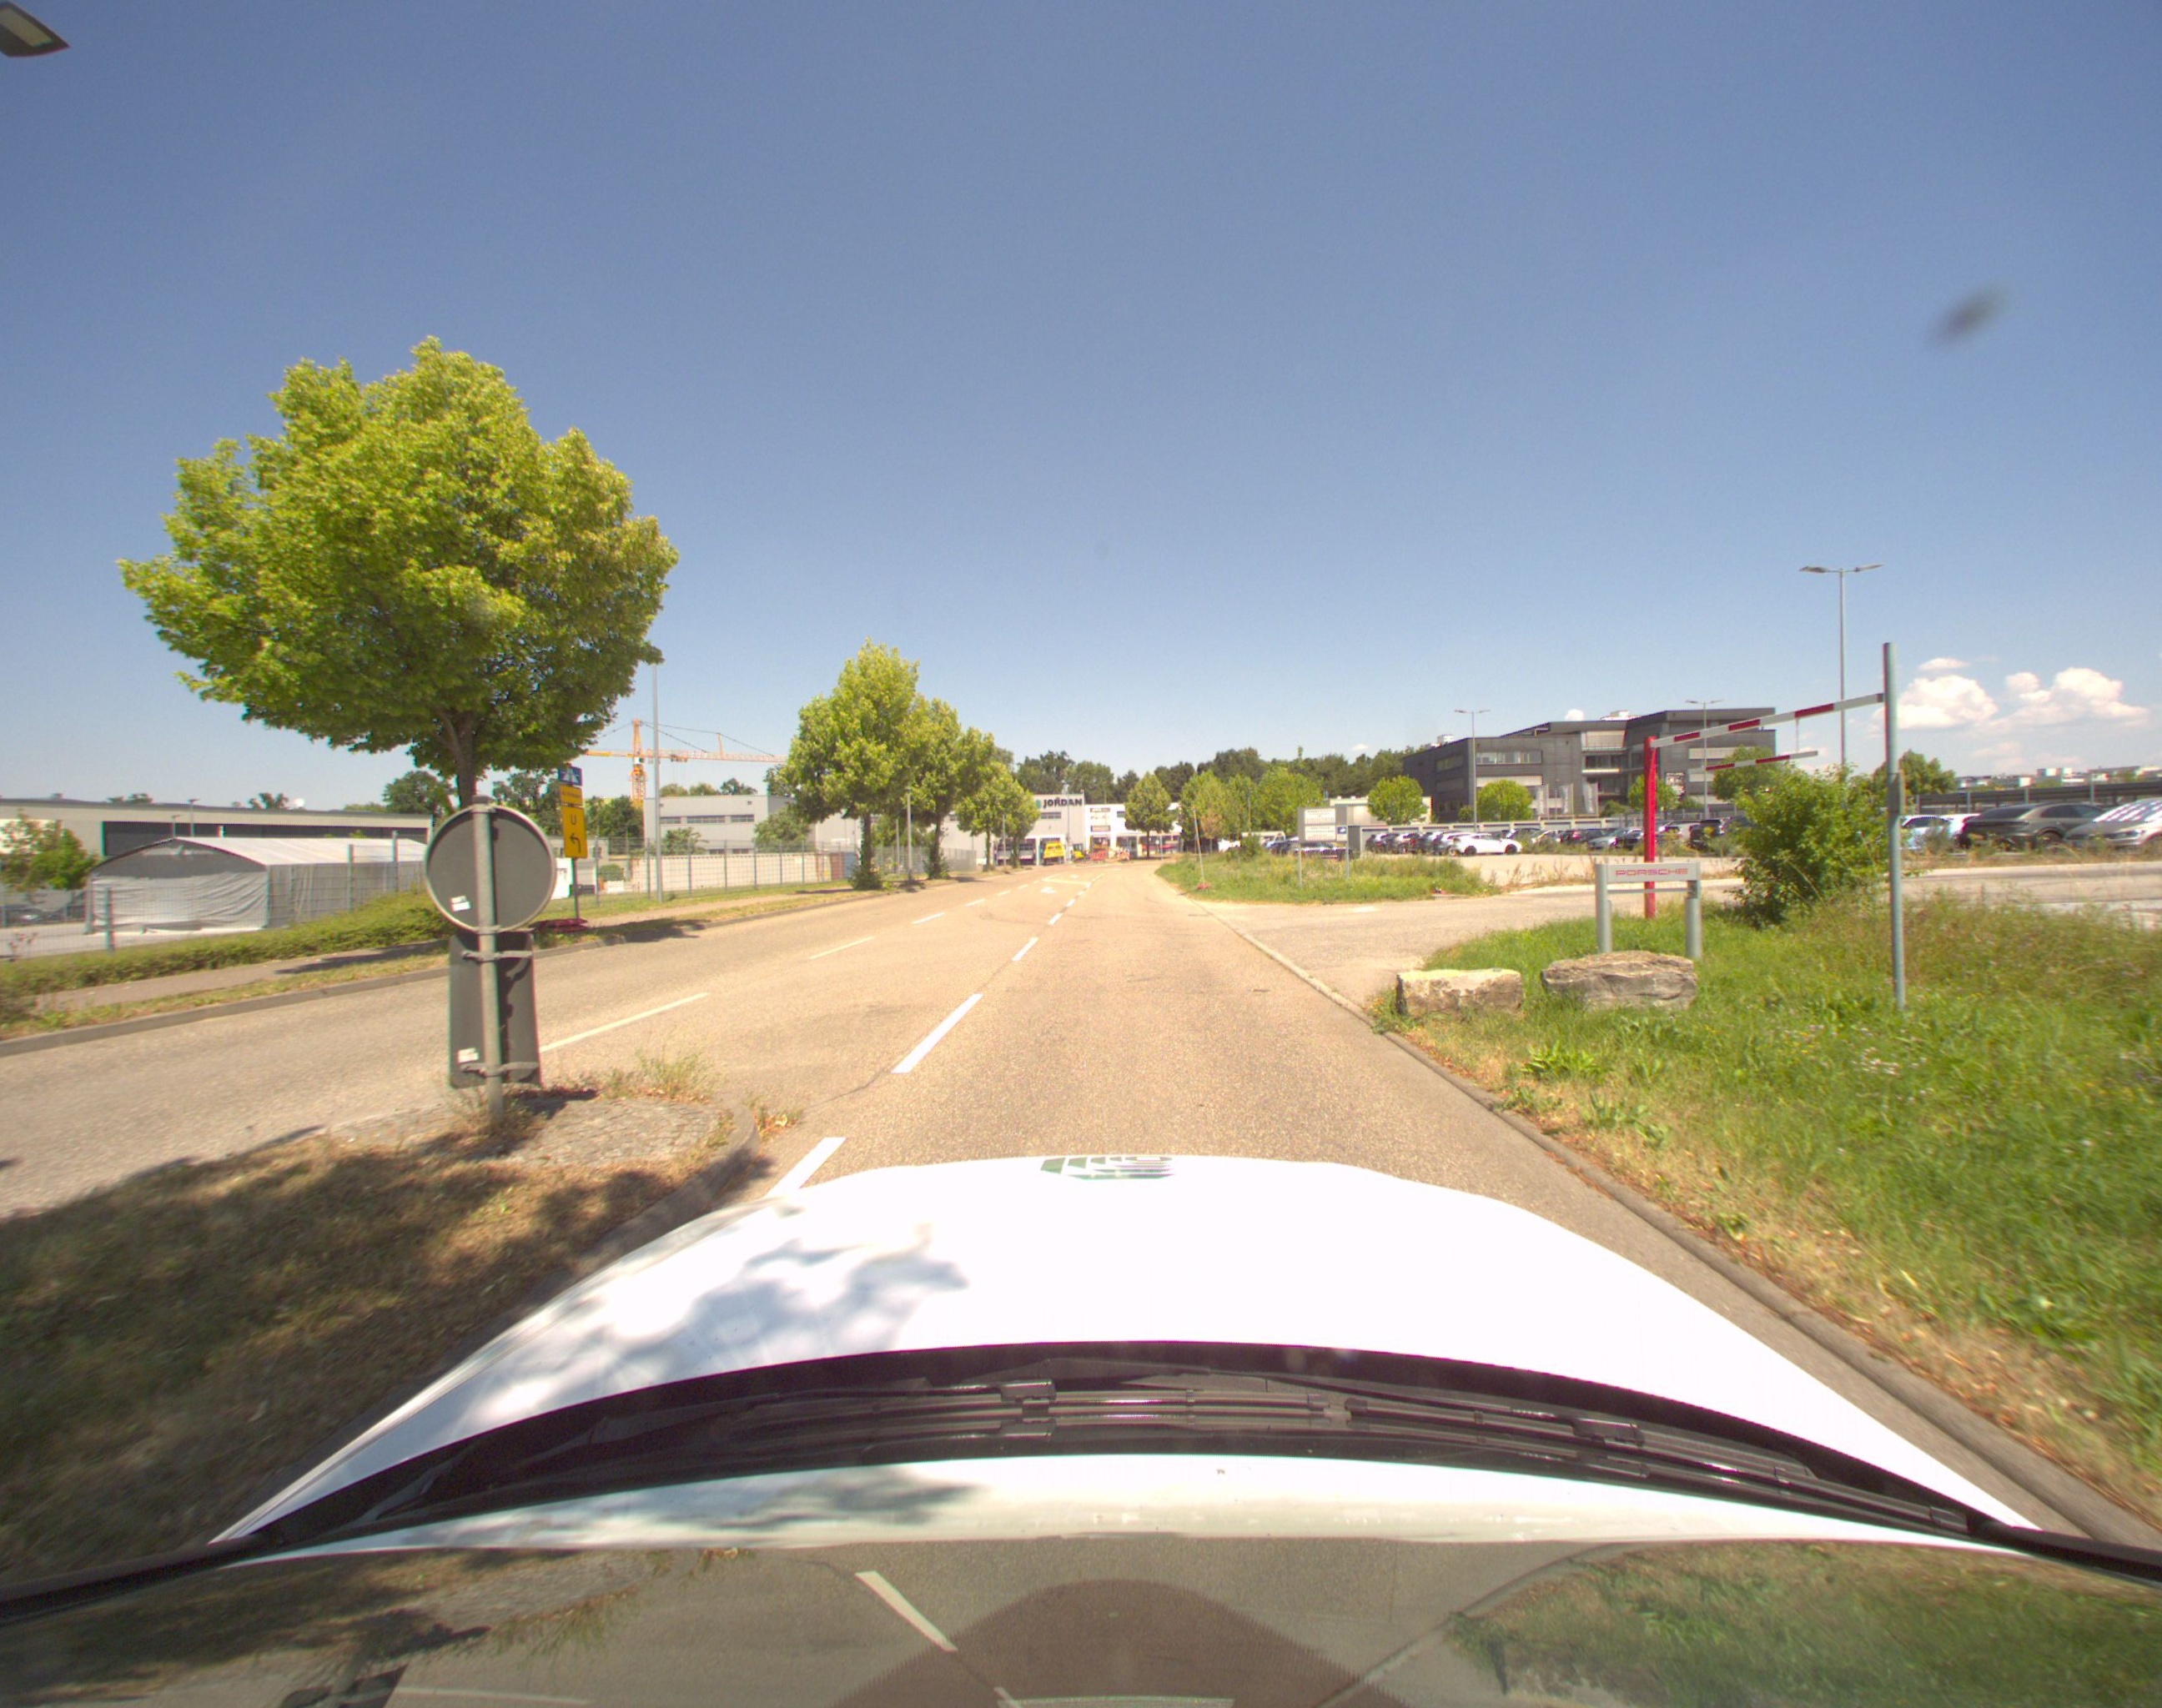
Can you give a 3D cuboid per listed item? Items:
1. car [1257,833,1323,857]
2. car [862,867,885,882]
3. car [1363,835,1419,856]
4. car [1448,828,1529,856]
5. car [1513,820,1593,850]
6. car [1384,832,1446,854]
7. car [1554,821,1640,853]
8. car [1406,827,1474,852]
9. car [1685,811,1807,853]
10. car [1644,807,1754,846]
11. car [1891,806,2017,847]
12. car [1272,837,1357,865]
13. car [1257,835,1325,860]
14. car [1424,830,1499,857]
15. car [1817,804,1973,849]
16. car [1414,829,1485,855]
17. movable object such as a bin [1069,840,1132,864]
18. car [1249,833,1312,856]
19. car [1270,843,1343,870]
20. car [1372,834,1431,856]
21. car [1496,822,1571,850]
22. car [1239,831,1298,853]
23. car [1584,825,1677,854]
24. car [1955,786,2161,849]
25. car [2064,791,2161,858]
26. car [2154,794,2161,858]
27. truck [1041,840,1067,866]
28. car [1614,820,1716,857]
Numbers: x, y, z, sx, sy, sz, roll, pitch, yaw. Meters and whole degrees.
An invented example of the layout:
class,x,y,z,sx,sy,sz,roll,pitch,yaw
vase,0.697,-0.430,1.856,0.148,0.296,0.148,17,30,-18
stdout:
class,x,y,z,sx,sy,sz,roll,pitch,yaw
car,14.777,-0.631,57.694,4.151,1.400,1.768,-3,3,-1
car,-26.420,2.597,103.706,1.990,1.551,3.995,-3,4,-4
car,25.569,-0.735,67.243,3.975,1.400,1.768,-3,3,-1
car,24.619,-0.730,49.264,3.974,1.400,1.769,-3,3,0
car,29.412,-1.221,50.841,3.975,1.595,1.768,-3,3,-1
car,25.177,-0.832,61.464,3.975,1.400,1.768,-3,3,-1
car,30.260,-1.030,47.848,3.975,1.595,1.768,-3,3,-1
car,25.192,-1.042,57.200,3.975,1.461,1.768,-3,3,-1
car,29.334,-1.002,35.999,3.975,1.595,1.861,-3,3,-1
car,29.659,-1.327,39.142,3.975,1.595,1.768,-3,3,-1
car,40.032,-1.290,37.386,3.975,1.595,1.768,-3,3,-1
car,14.186,-0.198,49.728,4.682,1.400,1.925,-3,4,4
car,14.316,-0.472,55.567,4.151,1.400,1.768,-3,3,-1
car,24.285,-0.665,52.088,3.975,1.400,1.768,-3,3,-1
car,29.449,-1.024,29.556,3.975,1.392,1.768,-3,3,-1
car,24.617,-0.819,54.508,3.975,1.490,1.768,-3,3,-1
movable object such as a bin,2.508,-0.251,105.037,7.479,2.499,3.678,-3,4,10
car,14.645,-0.727,59.821,4.151,1.400,1.768,-3,3,-1
car,14.511,0.154,52.562,4.151,1.400,1.768,-3,3,-1
car,25.227,-0.726,64.216,3.975,1.400,1.768,-3,3,-1
car,29.718,-1.197,53.582,3.975,1.595,1.768,-3,3,-1
car,14.629,-0.915,63.559,4.151,1.400,1.768,-3,3,-1
car,30.284,-0.821,44.971,3.975,1.271,1.768,-3,3,-1
car,29.529,-1.115,24.657,4.353,1.595,1.768,-3,3,-1
car,29.155,-0.859,21.666,3.975,1.595,1.768,-3,3,-1
car,28.889,-0.754,19.570,3.975,1.595,1.768,-3,3,-1
truck,-3.532,-0.206,105.541,2.935,2.885,5.799,-3,4,-6
car,29.781,-0.814,41.573,3.975,1.595,1.768,-3,3,-1
